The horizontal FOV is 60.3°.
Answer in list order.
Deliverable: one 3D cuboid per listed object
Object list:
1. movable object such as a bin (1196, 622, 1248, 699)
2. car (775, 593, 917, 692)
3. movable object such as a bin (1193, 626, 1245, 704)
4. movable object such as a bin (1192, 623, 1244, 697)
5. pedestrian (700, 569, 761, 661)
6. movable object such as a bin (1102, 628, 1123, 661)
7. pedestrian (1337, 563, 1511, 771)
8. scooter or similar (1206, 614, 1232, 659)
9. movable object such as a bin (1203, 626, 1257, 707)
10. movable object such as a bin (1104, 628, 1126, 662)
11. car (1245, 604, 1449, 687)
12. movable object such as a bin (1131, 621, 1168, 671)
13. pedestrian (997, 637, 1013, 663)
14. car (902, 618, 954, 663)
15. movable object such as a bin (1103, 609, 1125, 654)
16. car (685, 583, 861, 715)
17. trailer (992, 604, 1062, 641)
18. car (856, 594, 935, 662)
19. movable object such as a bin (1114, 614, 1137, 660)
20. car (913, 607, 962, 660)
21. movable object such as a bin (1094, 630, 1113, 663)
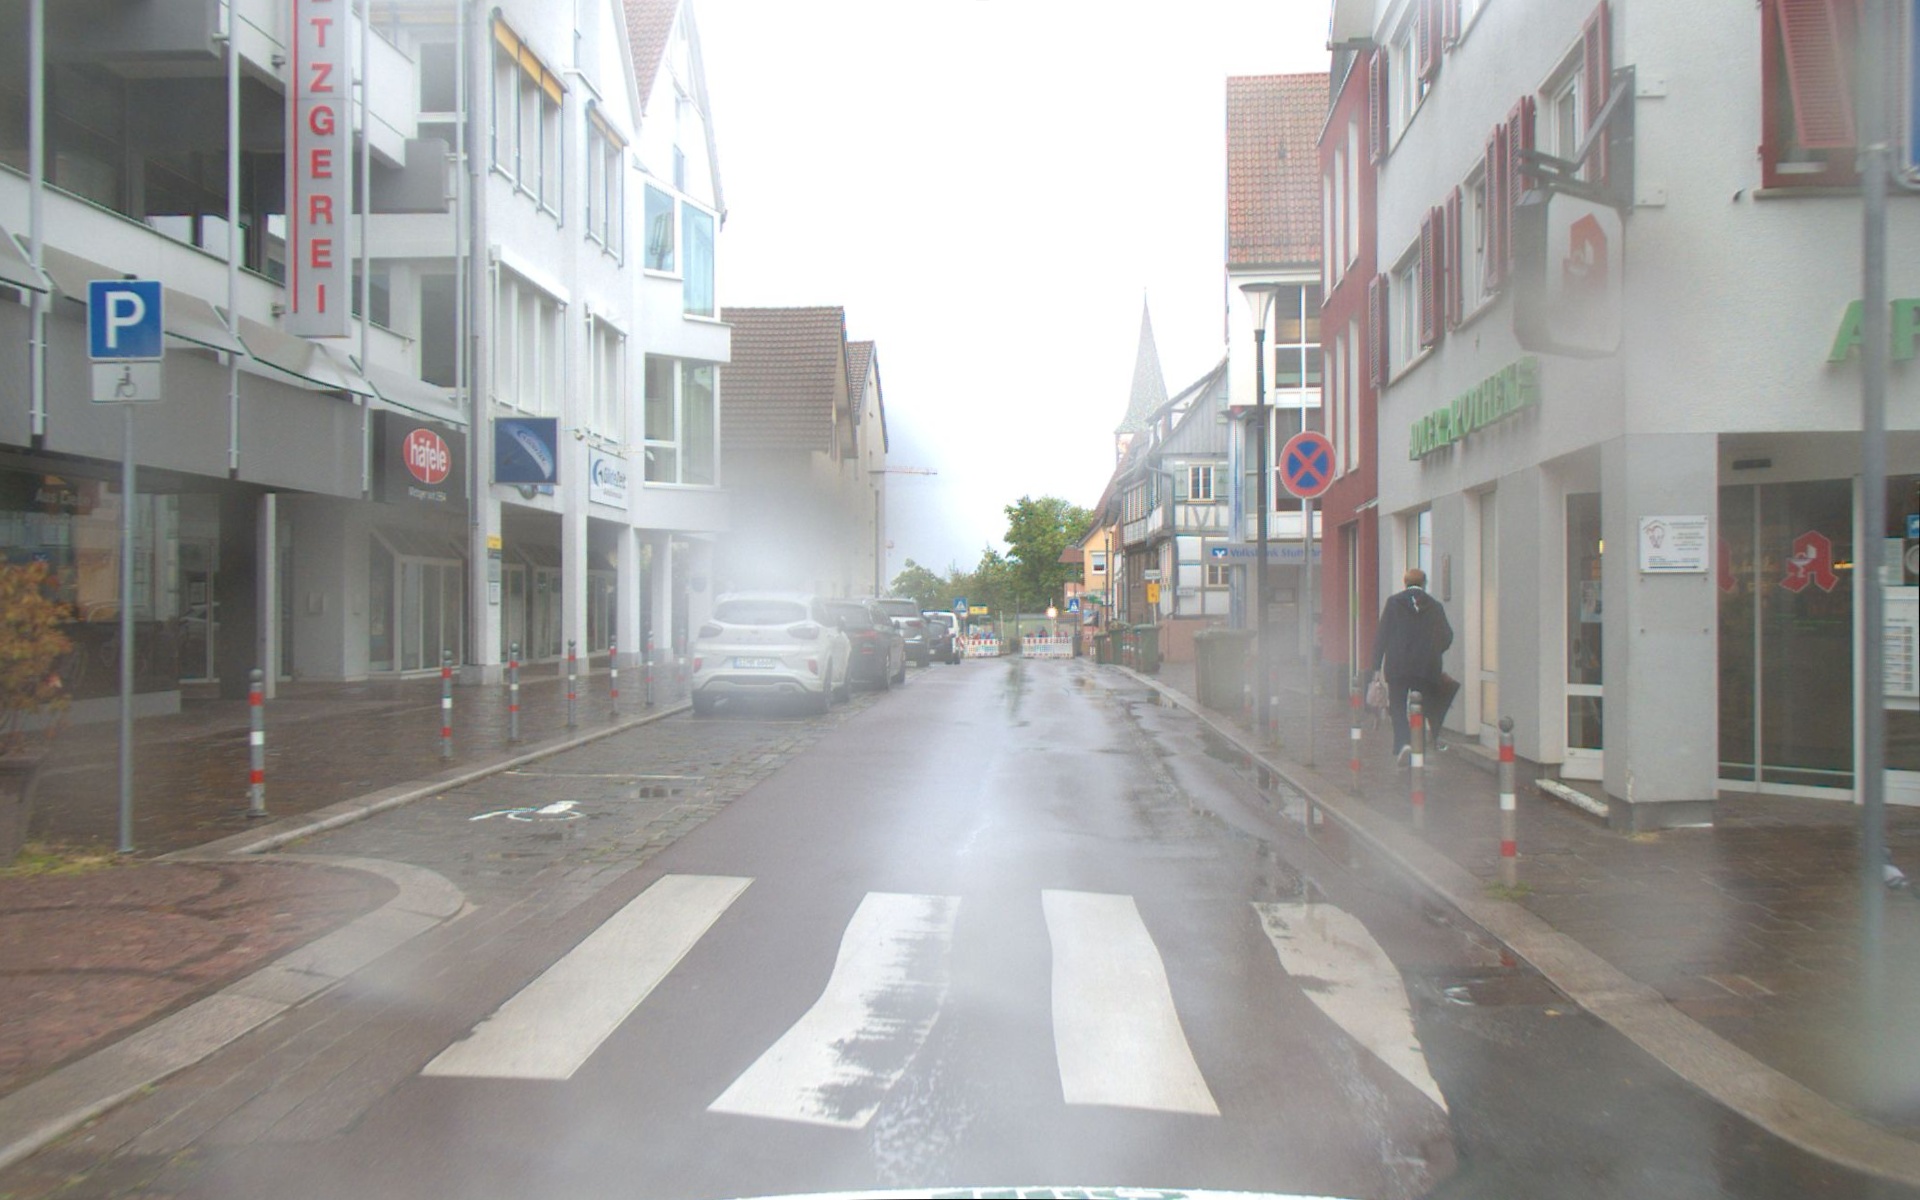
[{"bbox_3d":[3.853,0.888,24.368,0.695,1.114,0.614,0,-1,4],"label":"movable object such as a bin"},{"bbox_3d":[-1.852,0.682,28.412,1.792,1.525,4.765,-1,0,4],"label":"car"},{"bbox_3d":[3.696,0.919,23.638,0.662,1.103,0.698,0,-1,4],"label":"movable object such as a bin"},{"bbox_3d":[3.902,0.898,25.027,0.713,1.100,0.647,0,-1,4],"label":"movable object such as a bin"},{"bbox_3d":[-4.695,0.303,33.912,1.013,1.838,1.116,1,-1,2],"label":"pedestrian"},{"bbox_3d":[5.245,1.525,56.901,0.656,1.100,0.587,-1,-3,0],"label":"movable object such as a bin"},{"bbox_3d":[4.069,0.573,14.614,1.153,1.727,1.177,-2,-1,0],"label":"pedestrian"},{"bbox_3d":[6.803,0.958,43.419,0.651,1.166,1.447,0,-2,9],"label":"scooter or similar"},{"bbox_3d":[3.732,0.913,22.888,0.662,1.105,0.718,0,-1,4],"label":"movable object such as a bin"},{"bbox_3d":[5.221,1.508,55.731,0.664,1.116,0.650,1,-2,-1],"label":"movable object such as a bin"},{"bbox_3d":[7.873,0.946,33.817,3.902,1.541,1.913,-2,-2,13],"label":"car"},{"bbox_3d":[4.413,1.068,38.608,0.787,1.151,0.862,0,-2,1],"label":"movable object such as a bin"},{"bbox_3d":[3.060,3.425,112.606,0.970,1.790,0.851,0,-2,-4],"label":"pedestrian"},{"bbox_3d":[-1.041,1.339,54.047,1.646,1.413,3.824,0,-2,-1],"label":"car"},{"bbox_3d":[4.575,0.927,48.978,0.624,1.313,0.632,0,-2,7],"label":"movable object such as a bin"},{"bbox_3d":[-2.404,0.586,22.234,1.754,1.578,4.001,1,0,2],"label":"car"},{"bbox_3d":[5.579,1.890,137.456,5.665,2.999,1.999,0,-2,-3],"label":"trailer"},{"bbox_3d":[-1.538,0.723,40.860,1.743,1.596,4.407,0,-2,1],"label":"car"},{"bbox_3d":[4.764,1.076,47.557,0.624,1.313,0.632,0,-2,7],"label":"movable object such as a bin"},{"bbox_3d":[-0.793,1.234,59.995,1.688,1.857,4.427,0,-2,0],"label":"car"},{"bbox_3d":[5.072,1.653,58.334,0.624,1.167,0.604,0,-2,7],"label":"movable object such as a bin"}]
